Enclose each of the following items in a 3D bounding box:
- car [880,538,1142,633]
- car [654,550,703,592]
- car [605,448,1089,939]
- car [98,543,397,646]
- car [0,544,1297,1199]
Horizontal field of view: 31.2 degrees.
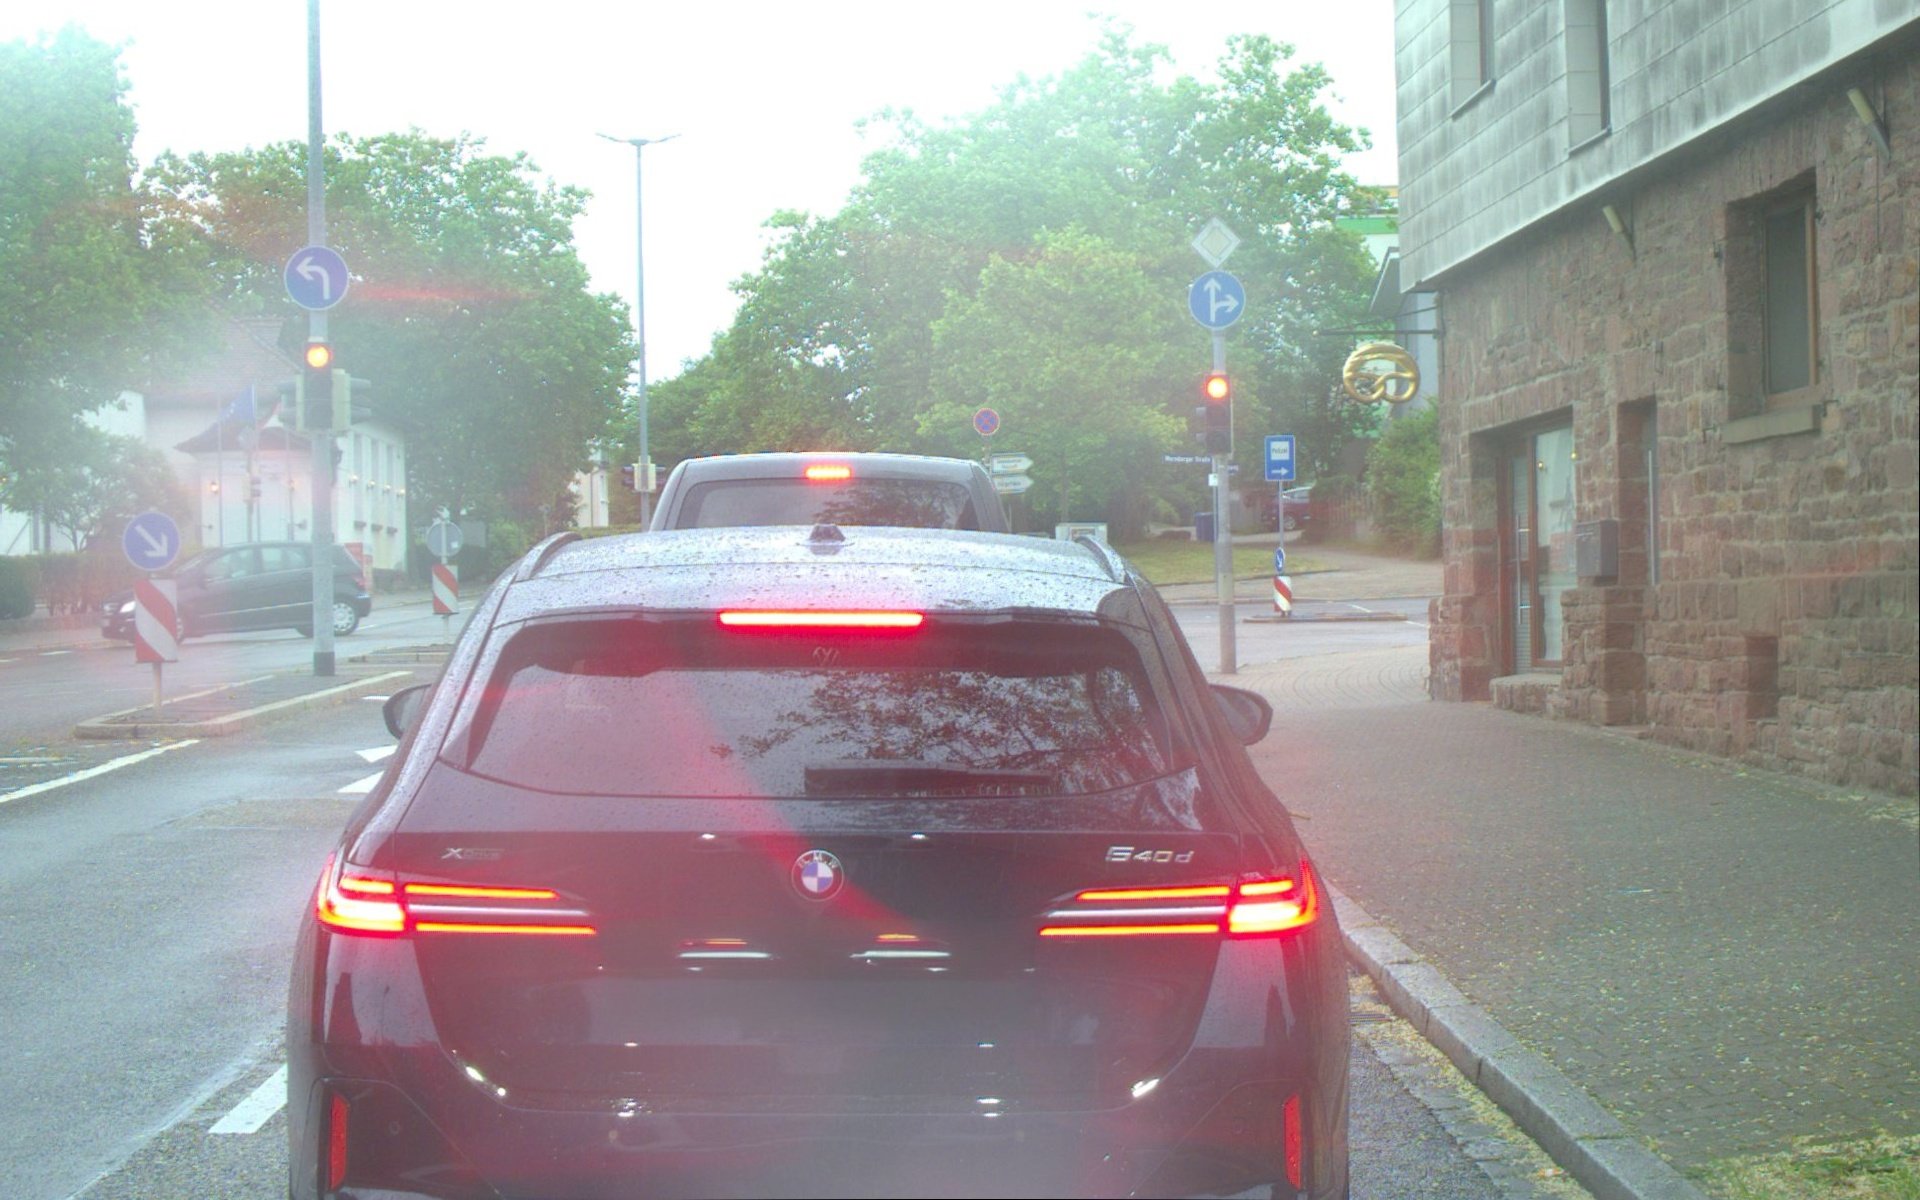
[{"bbox_3d":[0.858,-0.269,57.678,3.942,1.504,2.000,-1,2,-31],"label":"car"},{"bbox_3d":[-9.626,-1.011,117.682,1.464,1.393,3.322,0,1,-1],"label":"car"},{"bbox_3d":[-0.510,0.298,14.753,1.783,1.811,4.001,0,1,-3],"label":"car"},{"bbox_3d":[-11.449,-0.096,55.186,4.467,1.581,2.072,0,1,-19],"label":"car"},{"bbox_3d":[-0.641,0.610,7.475,2.064,1.441,4.484,0,1,-3],"label":"car"}]
